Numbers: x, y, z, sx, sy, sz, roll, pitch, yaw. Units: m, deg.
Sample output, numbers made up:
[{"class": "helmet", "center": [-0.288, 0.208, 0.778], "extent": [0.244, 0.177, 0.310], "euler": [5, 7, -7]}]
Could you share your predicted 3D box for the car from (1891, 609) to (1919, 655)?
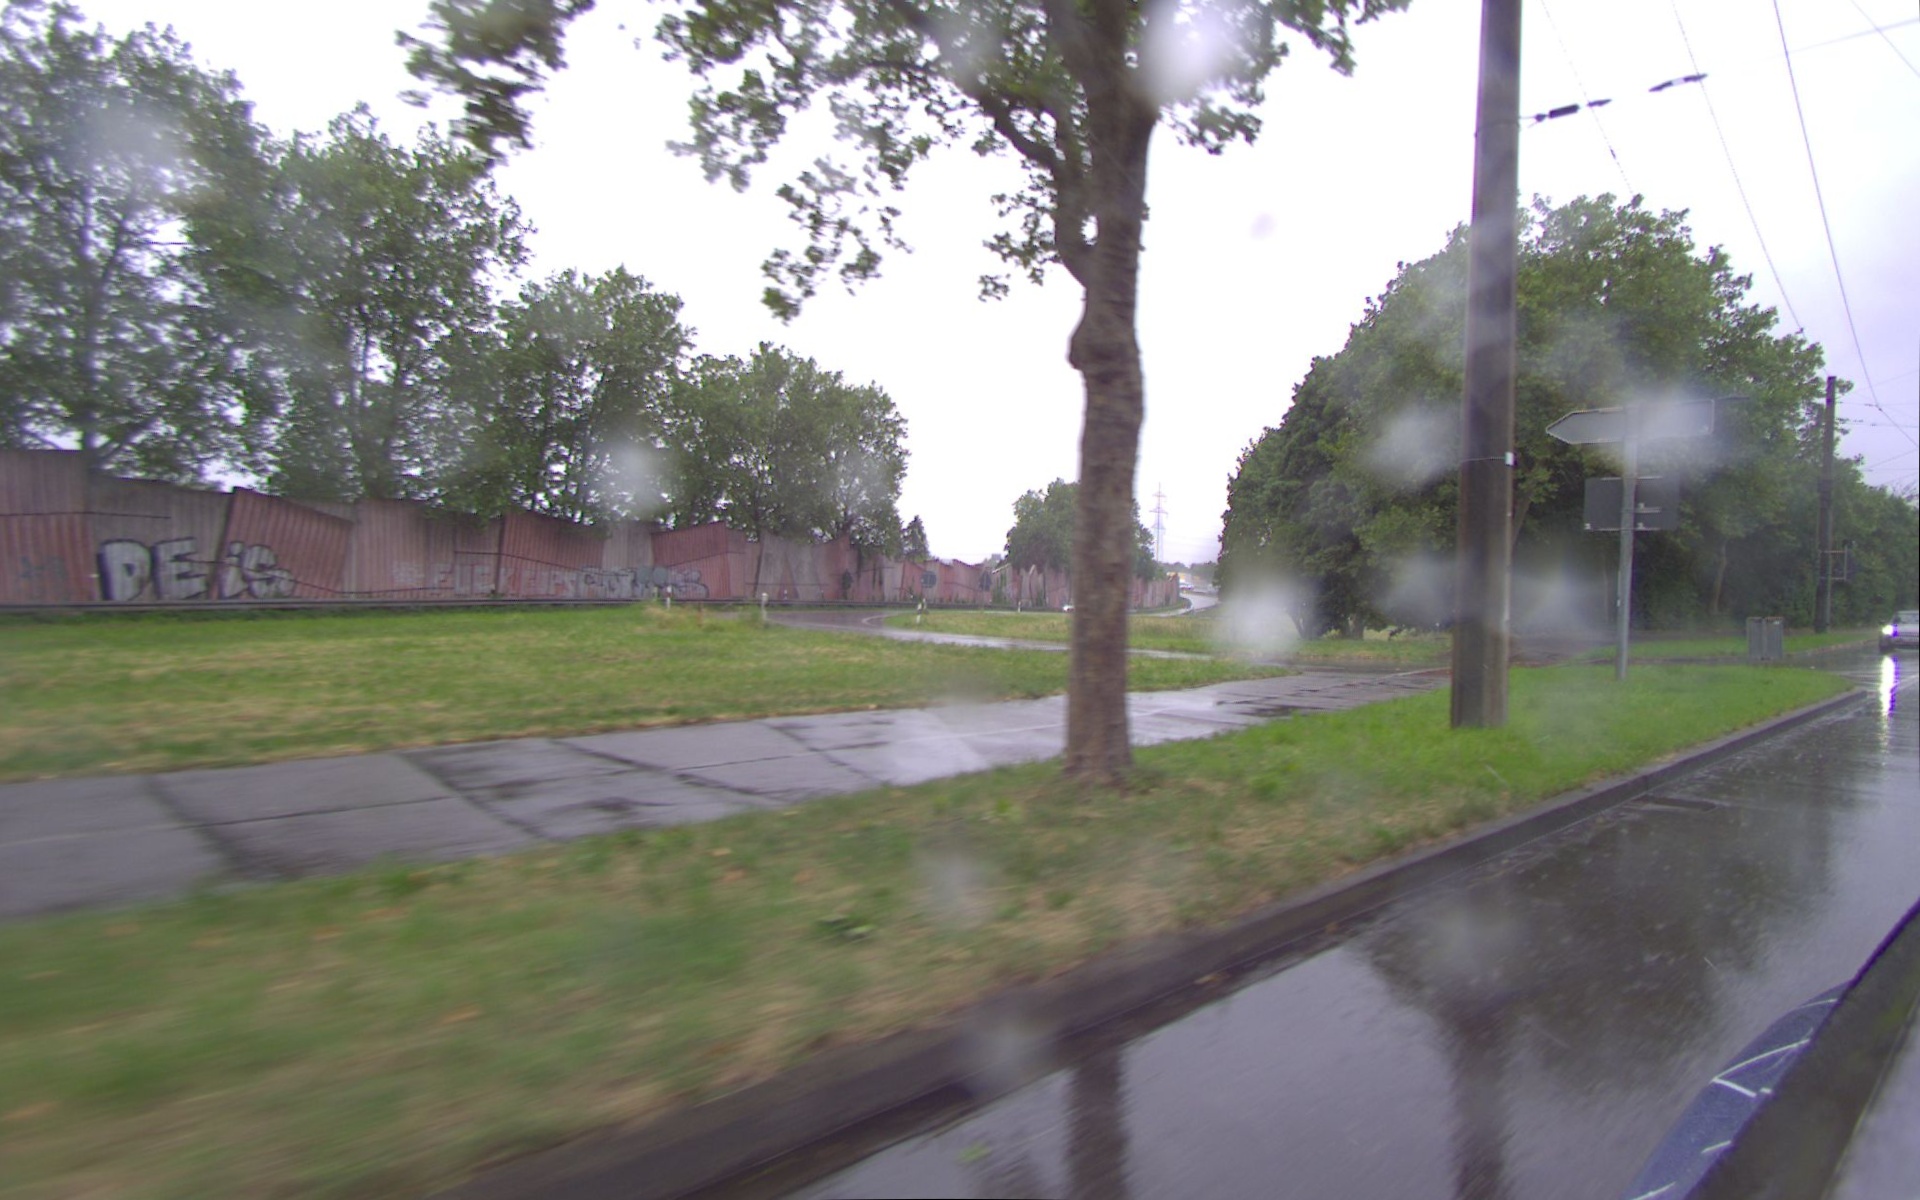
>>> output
[{"class": "car", "center": [33.680, 1.110, 35.045], "extent": [3.932, 1.437, 1.749], "euler": [0, 3, -42]}]
